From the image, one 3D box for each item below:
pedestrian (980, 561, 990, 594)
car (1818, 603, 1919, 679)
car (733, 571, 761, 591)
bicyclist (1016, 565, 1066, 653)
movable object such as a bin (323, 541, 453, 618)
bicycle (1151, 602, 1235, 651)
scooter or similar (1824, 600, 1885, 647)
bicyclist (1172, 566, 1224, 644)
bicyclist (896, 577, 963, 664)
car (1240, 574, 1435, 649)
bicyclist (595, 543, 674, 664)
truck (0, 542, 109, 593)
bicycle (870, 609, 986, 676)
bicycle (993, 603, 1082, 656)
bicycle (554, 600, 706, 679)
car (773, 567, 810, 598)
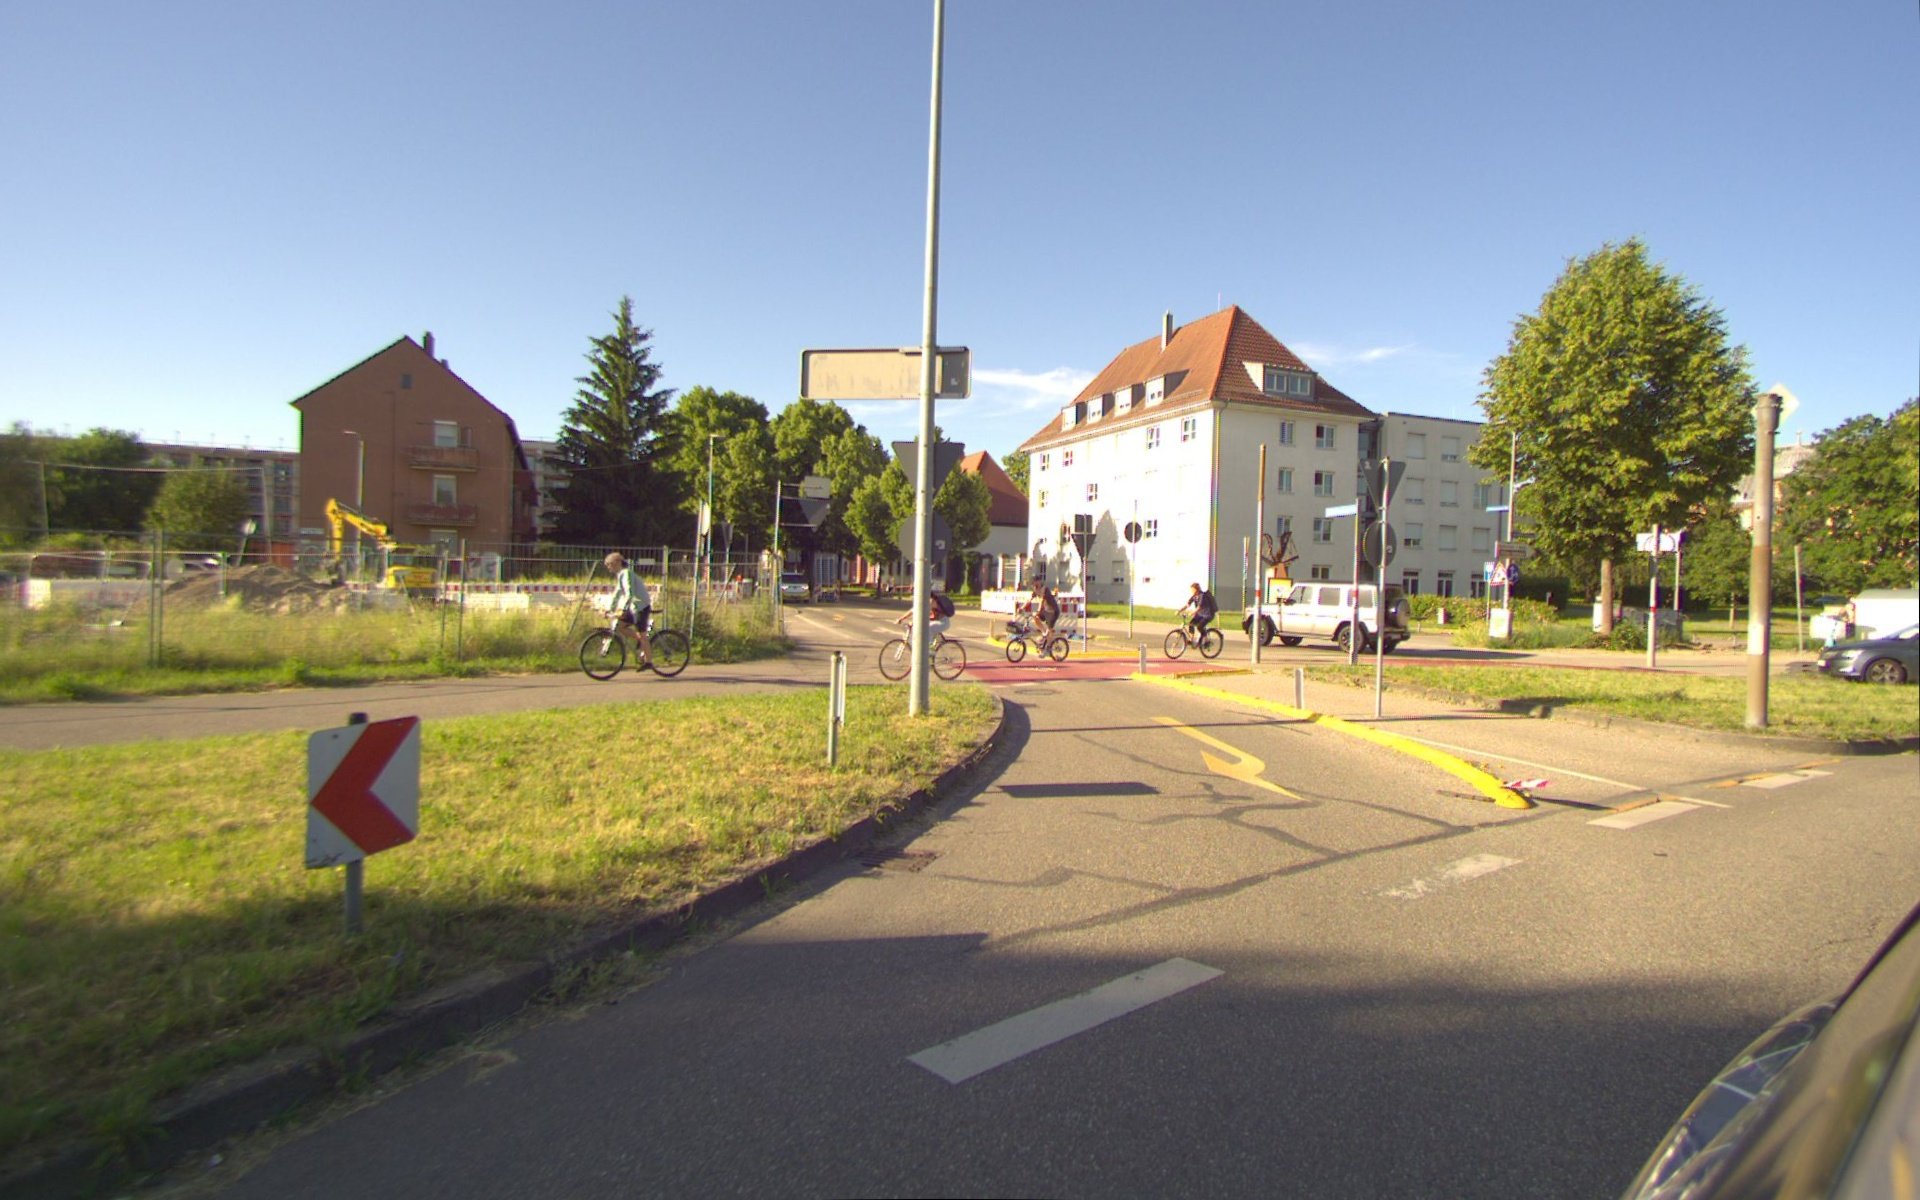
[{"bbox_3d":[1.512,-1.374,62.336,0.462,2.039,0.456,1,1,-13],"label":"pedestrian"},{"bbox_3d":[20.098,0.842,20.280,4.111,1.454,1.703,1,0,27],"label":"car"},{"bbox_3d":[-19.566,-1.721,92.871,1.958,1.722,4.009,1,1,-20],"label":"car"},{"bbox_3d":[1.663,0.172,20.771,0.797,1.751,0.655,0,0,-33],"label":"bicyclist"},{"bbox_3d":[-21.998,-0.779,38.959,3.956,2.809,2.407,1,-1,24],"label":"movable object such as a bin"},{"bbox_3d":[5.177,0.592,22.418,1.786,1.041,0.661,2,-1,-26],"label":"bicycle"},{"bbox_3d":[24.351,0.631,27.566,1.241,1.264,0.444,0,-1,1],"label":"scooter or similar"},{"bbox_3d":[5.279,0.116,22.471,0.880,1.686,0.661,2,-1,-25],"label":"bicyclist"},{"bbox_3d":[-0.506,0.326,16.741,0.915,1.402,0.661,1,0,-24],"label":"bicyclist"},{"bbox_3d":[10.428,0.254,28.254,1.967,1.921,4.748,1,0,-39],"label":"car"},{"bbox_3d":[-4.807,0.035,14.922,0.839,1.701,0.742,1,3,-39],"label":"bicyclist"},{"bbox_3d":[-40.797,-1.423,43.678,6.315,2.039,2.170,2,-1,1],"label":"truck"},{"bbox_3d":[-0.528,0.687,16.747,1.786,1.040,0.661,1,1,-24],"label":"bicycle"},{"bbox_3d":[1.597,0.605,20.737,1.788,1.041,0.660,2,-1,-33],"label":"bicycle"},{"bbox_3d":[-4.845,0.564,14.947,1.974,1.040,0.742,1,3,-40],"label":"bicycle"},{"bbox_3d":[-10.700,-1.098,63.943,1.958,1.923,4.008,1,1,-14],"label":"car"}]
